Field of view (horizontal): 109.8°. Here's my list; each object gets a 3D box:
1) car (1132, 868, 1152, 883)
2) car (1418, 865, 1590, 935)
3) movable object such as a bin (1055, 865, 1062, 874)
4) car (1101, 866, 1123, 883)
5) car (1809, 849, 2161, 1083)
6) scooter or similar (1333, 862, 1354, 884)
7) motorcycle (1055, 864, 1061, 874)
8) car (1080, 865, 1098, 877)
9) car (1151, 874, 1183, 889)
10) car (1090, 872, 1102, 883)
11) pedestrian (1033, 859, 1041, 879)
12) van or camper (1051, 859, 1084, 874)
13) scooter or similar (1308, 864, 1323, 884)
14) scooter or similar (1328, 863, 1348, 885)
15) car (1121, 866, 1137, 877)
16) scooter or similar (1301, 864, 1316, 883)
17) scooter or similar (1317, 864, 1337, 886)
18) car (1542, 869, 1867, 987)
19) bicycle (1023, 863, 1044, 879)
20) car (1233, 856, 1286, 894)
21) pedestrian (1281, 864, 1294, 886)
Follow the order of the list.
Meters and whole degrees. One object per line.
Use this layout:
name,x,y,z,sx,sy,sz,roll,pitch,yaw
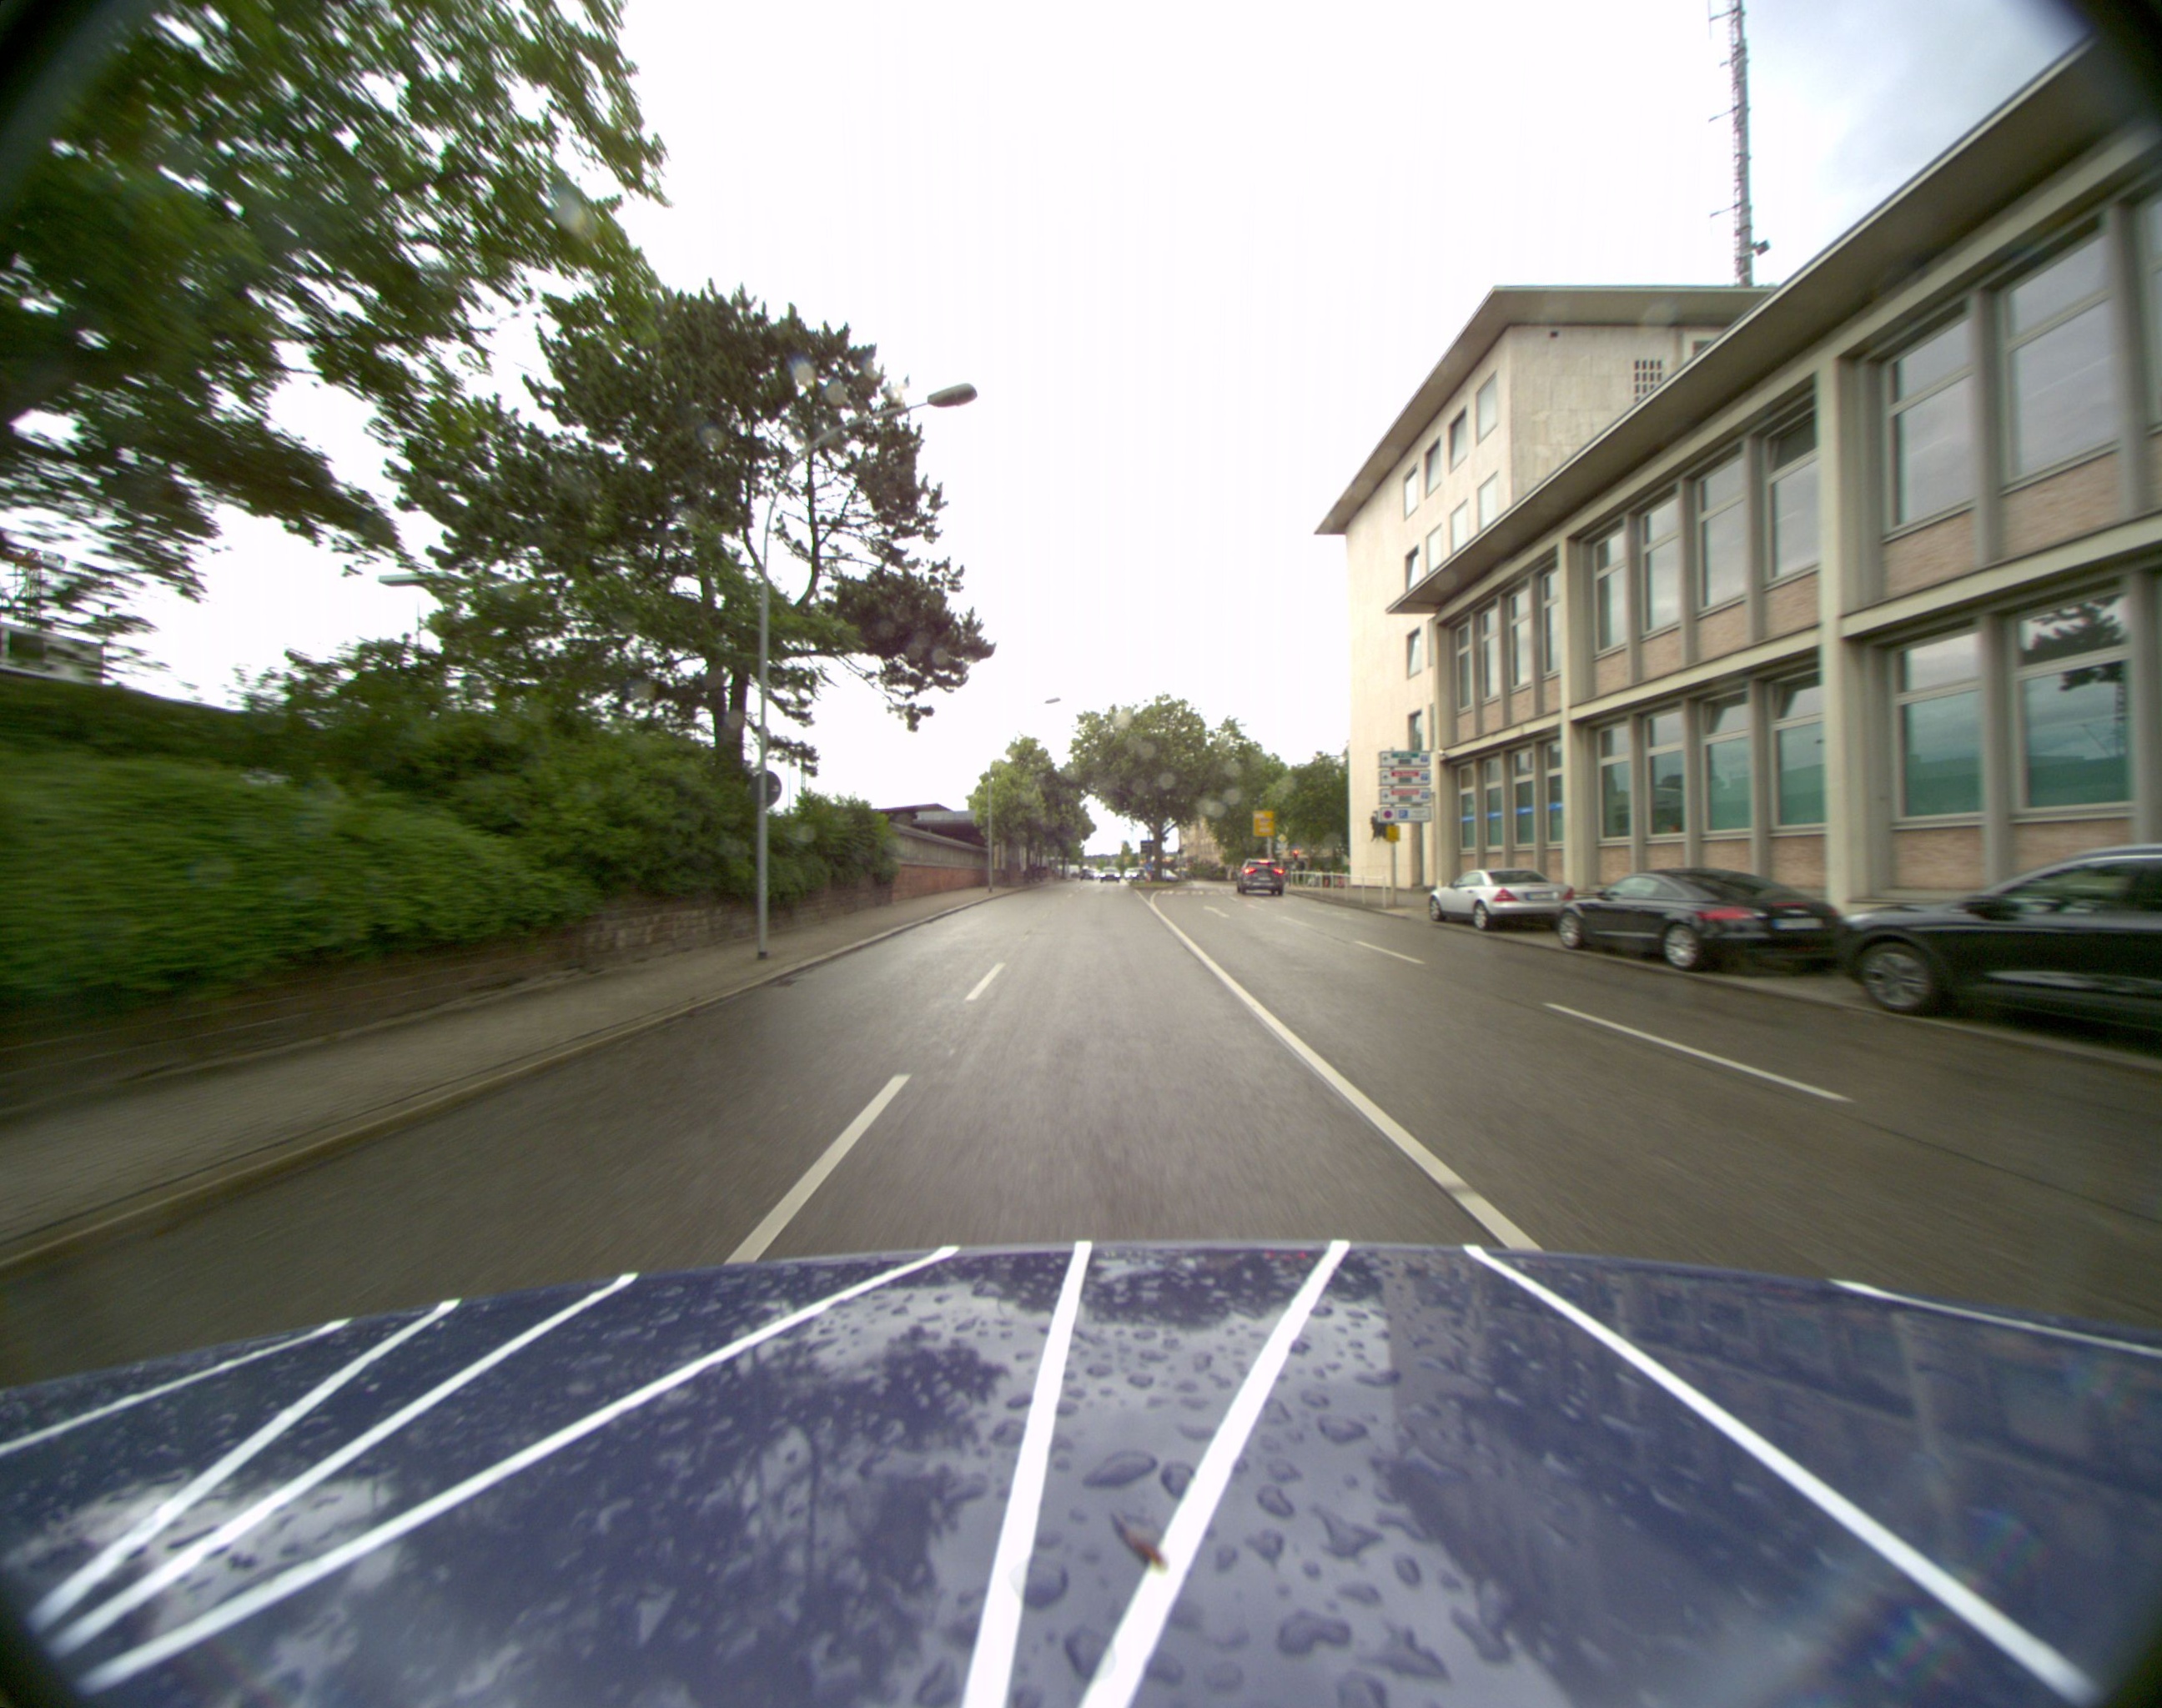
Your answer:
car,6.951,2.467,87.020,1.969,1.630,4.359,1,-1,1
car,9.137,0.935,16.820,1.695,1.290,4.094,-1,0,3
movable object such as a bin,-3.427,2.358,117.044,1.036,1.330,1.317,0,-1,1
car,2.885,1.856,69.548,1.871,1.465,3.828,1,-1,5
car,8.660,0.799,5.847,1.801,1.665,4.604,-1,0,2
scooter or similar,14.021,1.030,40.591,0.607,1.157,1.532,0,-1,36
motorcycle,-3.363,2.183,110.105,0.793,1.339,2.457,0,-1,0
car,1.000,2.021,90.480,1.871,1.465,3.828,1,-1,5
car,8.712,2.815,77.267,1.822,1.400,4.409,1,-1,-14
car,2.161,3.290,107.628,1.619,1.477,3.671,1,-1,1
pedestrian,-3.493,1.203,60.270,0.456,1.559,0.394,1,0,37
van or camper,-2.866,2.618,158.191,6.541,2.852,2.275,1,-1,-28
scooter or similar,14.526,1.245,47.085,0.571,1.185,1.575,0,-1,6
scooter or similar,14.157,1.114,41.910,0.607,1.185,1.532,0,-1,36
car,6.392,2.289,101.036,1.983,1.437,3.910,1,-1,3
scooter or similar,14.576,1.251,48.766,0.489,1.160,1.502,0,-1,-1
scooter or similar,14.011,1.186,43.233,0.607,1.185,1.532,0,-1,36
car,8.719,0.927,11.161,1.546,1.345,4.111,-1,0,3
bicycle,-3.767,1.348,59.958,1.720,1.241,0.487,1,-1,34
car,8.321,0.939,35.723,1.825,1.650,4.340,0,-1,5
pedestrian,15.619,1.580,57.502,0.655,1.700,0.797,1,-1,-6
